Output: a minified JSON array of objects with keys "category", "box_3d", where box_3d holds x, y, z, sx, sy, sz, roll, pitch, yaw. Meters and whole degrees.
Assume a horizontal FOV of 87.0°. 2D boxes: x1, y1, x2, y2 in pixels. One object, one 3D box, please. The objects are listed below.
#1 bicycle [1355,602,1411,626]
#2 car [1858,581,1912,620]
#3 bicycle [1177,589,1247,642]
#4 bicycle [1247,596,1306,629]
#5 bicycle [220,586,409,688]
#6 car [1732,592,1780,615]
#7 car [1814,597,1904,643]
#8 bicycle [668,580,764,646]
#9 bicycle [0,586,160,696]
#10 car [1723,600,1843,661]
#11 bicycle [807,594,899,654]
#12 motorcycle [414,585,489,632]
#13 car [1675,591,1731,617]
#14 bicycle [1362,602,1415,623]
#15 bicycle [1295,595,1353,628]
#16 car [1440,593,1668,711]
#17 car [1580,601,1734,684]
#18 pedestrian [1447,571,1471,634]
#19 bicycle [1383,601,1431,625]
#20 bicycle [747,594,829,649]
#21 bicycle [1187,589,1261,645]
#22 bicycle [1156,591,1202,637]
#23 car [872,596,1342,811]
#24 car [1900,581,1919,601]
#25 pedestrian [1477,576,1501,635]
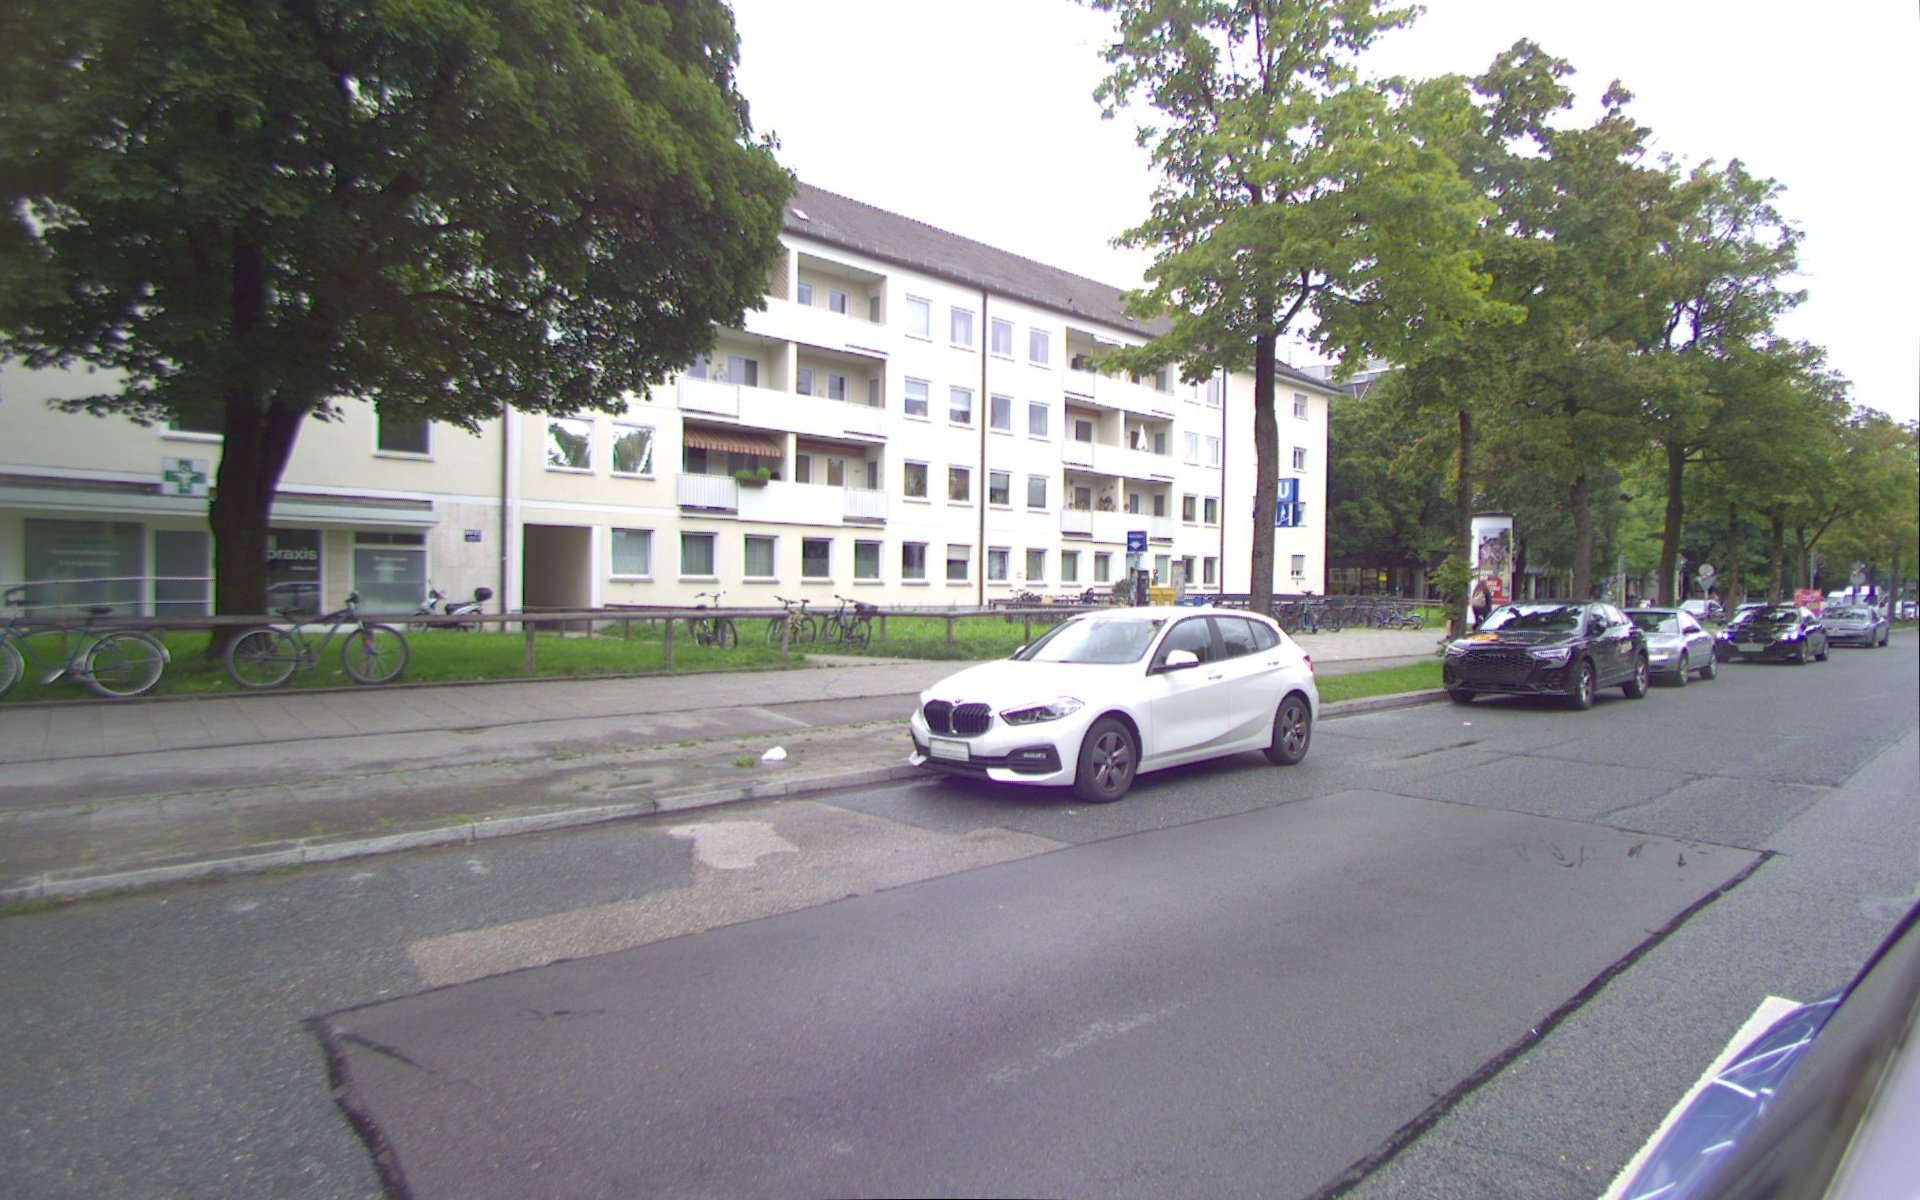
[{"category":"bicycle","box_3d":[13.977,0.458,33.462,0.490,0.645,1.596,0,3,-45]},{"category":"car","box_3d":[59.844,0.001,65.476,4.912,2.486,1.997,-1,0,-41]},{"category":"bicycle","box_3d":[6.002,0.352,24.058,2.039,1.203,0.545,0,0,-41]},{"category":"bicycle","box_3d":[9.268,0.363,29.661,0.490,0.927,1.595,0,1,-45]},{"category":"bicycle","box_3d":[-7.181,0.375,11.322,1.738,1.068,0.470,-1,0,-42]},{"category":"car","box_3d":[54.730,0.237,69.530,4.225,1.486,1.825,0,1,-41]},{"category":"car","box_3d":[31.152,0.652,35.041,4.225,1.487,1.825,0,0,-41]},{"category":"bicycle","box_3d":[-4.250,0.200,17.517,0.653,1.081,2.027,0,1,-45]},{"category":"bicycle","box_3d":[-8.975,0.385,9.876,1.820,1.028,0.448,0,0,-41]},{"category":"car","box_3d":[21.134,0.719,25.929,4.227,1.397,1.824,0,0,-43]},{"category":"bicycle","box_3d":[-2.102,0.437,19.676,0.653,1.081,2.027,0,1,-45]},{"category":"motorcycle","box_3d":[-12.772,0.198,25.448,1.593,1.134,0.606,0,1,-41]},{"category":"car","box_3d":[44.318,0.206,60.357,4.225,1.487,1.825,0,0,-41]},{"category":"bicycle","box_3d":[14.457,0.415,34.168,0.490,0.704,1.595,0,0,-45]},{"category":"bicycle","box_3d":[11.247,0.345,31.297,0.490,0.927,1.596,0,2,-45]},{"category":"car","box_3d":[9.055,0.672,15.292,4.086,1.530,1.824,0,0,-42]},{"category":"car","box_3d":[13.288,0.723,19.222,3.860,1.397,1.615,0,0,-43]},{"category":"pedestrian","box_3d":[14.180,0.067,28.749,0.555,1.778,0.651,1,0,29]},{"category":"bicycle","box_3d":[15.129,0.426,34.282,0.490,0.722,1.389,0,3,-45]},{"category":"bicycle","box_3d":[-3.657,0.433,21.411,0.653,1.081,2.027,0,1,-45]},{"category":"bicycle","box_3d":[5.957,0.362,22.808,2.039,1.203,0.545,0,0,-41]},{"category":"bicycle","box_3d":[5.466,0.341,25.215,1.231,1.130,0.466,0,0,-41]},{"category":"car","box_3d":[1.460,0.712,8.974,4.212,1.455,1.824,0,-1,-41]},{"category":"car","box_3d":[124.734,-1.184,132.553,4.915,2.485,1.996,0,1,-43]},{"category":"pedestrian","box_3d":[14.802,0.153,28.319,0.555,1.625,0.515,1,0,30]}]
